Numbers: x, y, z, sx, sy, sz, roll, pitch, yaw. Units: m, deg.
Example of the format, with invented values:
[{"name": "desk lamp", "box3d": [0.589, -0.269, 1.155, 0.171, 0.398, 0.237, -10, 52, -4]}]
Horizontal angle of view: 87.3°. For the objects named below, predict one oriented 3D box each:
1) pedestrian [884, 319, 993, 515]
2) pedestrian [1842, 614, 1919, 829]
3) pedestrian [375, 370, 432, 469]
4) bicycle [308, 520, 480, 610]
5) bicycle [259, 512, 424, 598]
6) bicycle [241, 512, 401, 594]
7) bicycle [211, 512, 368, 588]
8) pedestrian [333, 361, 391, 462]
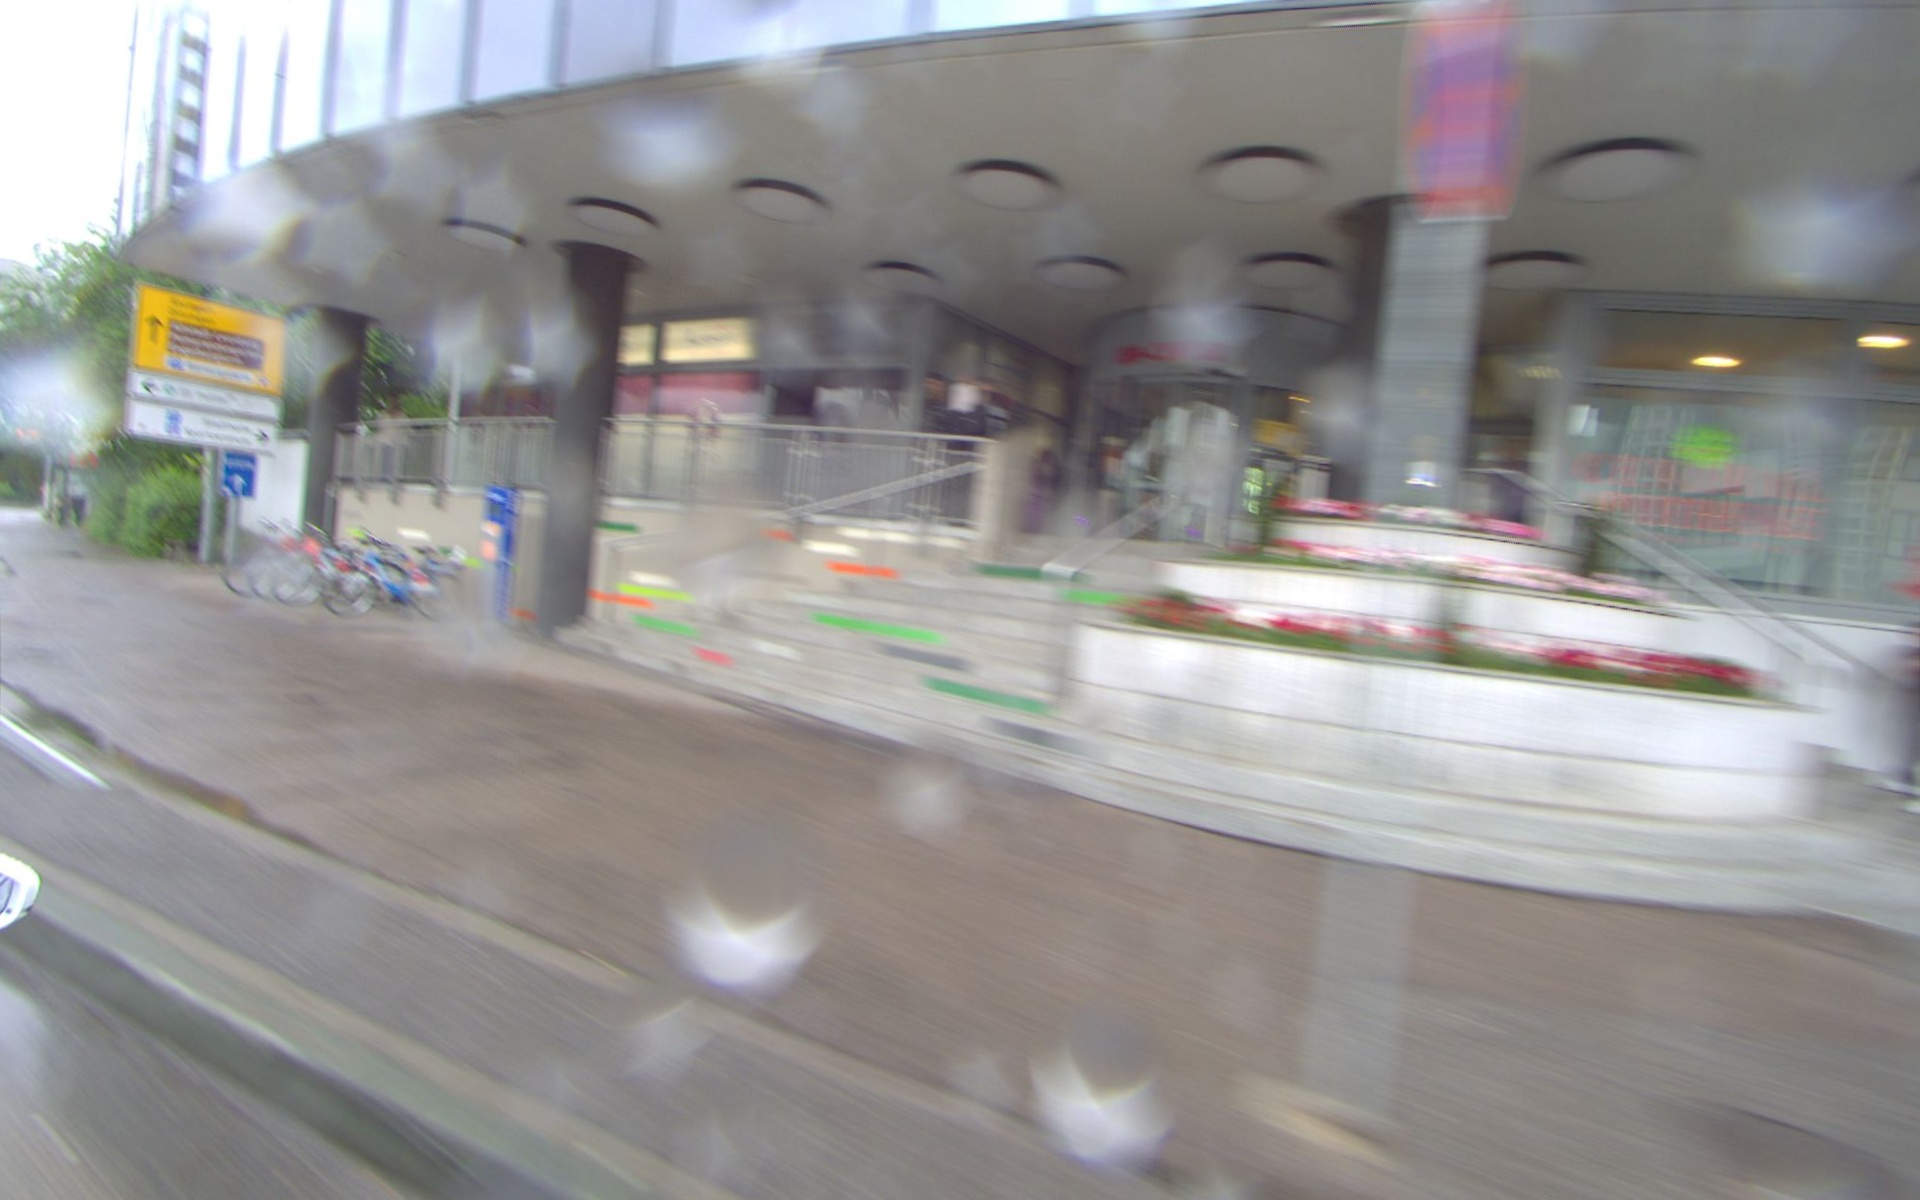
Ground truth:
[{"name": "pedestrian", "box3d": [-0.236, -2.108, 11.827, 0.934, 2.039, 0.832, 8, 2, 4]}, {"name": "pedestrian", "box3d": [8.935, 1.131, 9.370, 0.645, 1.933, 0.595, 8, 2, 12]}, {"name": "pedestrian", "box3d": [-10.703, -3.456, 19.355, 0.592, 1.735, 0.651, 10, 3, 43]}, {"name": "bicycle", "box3d": [-7.419, -0.435, 13.264, 0.623, 1.037, 1.845, 7, 3, 38]}, {"name": "bicycle", "box3d": [-8.667, -0.609, 14.170, 0.638, 1.057, 1.845, 7, 3, 38]}, {"name": "bicycle", "box3d": [-9.252, -0.663, 14.634, 0.619, 1.047, 1.845, 7, 3, 38]}, {"name": "bicycle", "box3d": [-9.919, -0.720, 14.943, 0.528, 0.964, 1.843, 9, 5, 41]}, {"name": "pedestrian", "box3d": [-11.238, -3.530, 18.897, 0.592, 1.735, 0.651, 10, 3, 43]}]
